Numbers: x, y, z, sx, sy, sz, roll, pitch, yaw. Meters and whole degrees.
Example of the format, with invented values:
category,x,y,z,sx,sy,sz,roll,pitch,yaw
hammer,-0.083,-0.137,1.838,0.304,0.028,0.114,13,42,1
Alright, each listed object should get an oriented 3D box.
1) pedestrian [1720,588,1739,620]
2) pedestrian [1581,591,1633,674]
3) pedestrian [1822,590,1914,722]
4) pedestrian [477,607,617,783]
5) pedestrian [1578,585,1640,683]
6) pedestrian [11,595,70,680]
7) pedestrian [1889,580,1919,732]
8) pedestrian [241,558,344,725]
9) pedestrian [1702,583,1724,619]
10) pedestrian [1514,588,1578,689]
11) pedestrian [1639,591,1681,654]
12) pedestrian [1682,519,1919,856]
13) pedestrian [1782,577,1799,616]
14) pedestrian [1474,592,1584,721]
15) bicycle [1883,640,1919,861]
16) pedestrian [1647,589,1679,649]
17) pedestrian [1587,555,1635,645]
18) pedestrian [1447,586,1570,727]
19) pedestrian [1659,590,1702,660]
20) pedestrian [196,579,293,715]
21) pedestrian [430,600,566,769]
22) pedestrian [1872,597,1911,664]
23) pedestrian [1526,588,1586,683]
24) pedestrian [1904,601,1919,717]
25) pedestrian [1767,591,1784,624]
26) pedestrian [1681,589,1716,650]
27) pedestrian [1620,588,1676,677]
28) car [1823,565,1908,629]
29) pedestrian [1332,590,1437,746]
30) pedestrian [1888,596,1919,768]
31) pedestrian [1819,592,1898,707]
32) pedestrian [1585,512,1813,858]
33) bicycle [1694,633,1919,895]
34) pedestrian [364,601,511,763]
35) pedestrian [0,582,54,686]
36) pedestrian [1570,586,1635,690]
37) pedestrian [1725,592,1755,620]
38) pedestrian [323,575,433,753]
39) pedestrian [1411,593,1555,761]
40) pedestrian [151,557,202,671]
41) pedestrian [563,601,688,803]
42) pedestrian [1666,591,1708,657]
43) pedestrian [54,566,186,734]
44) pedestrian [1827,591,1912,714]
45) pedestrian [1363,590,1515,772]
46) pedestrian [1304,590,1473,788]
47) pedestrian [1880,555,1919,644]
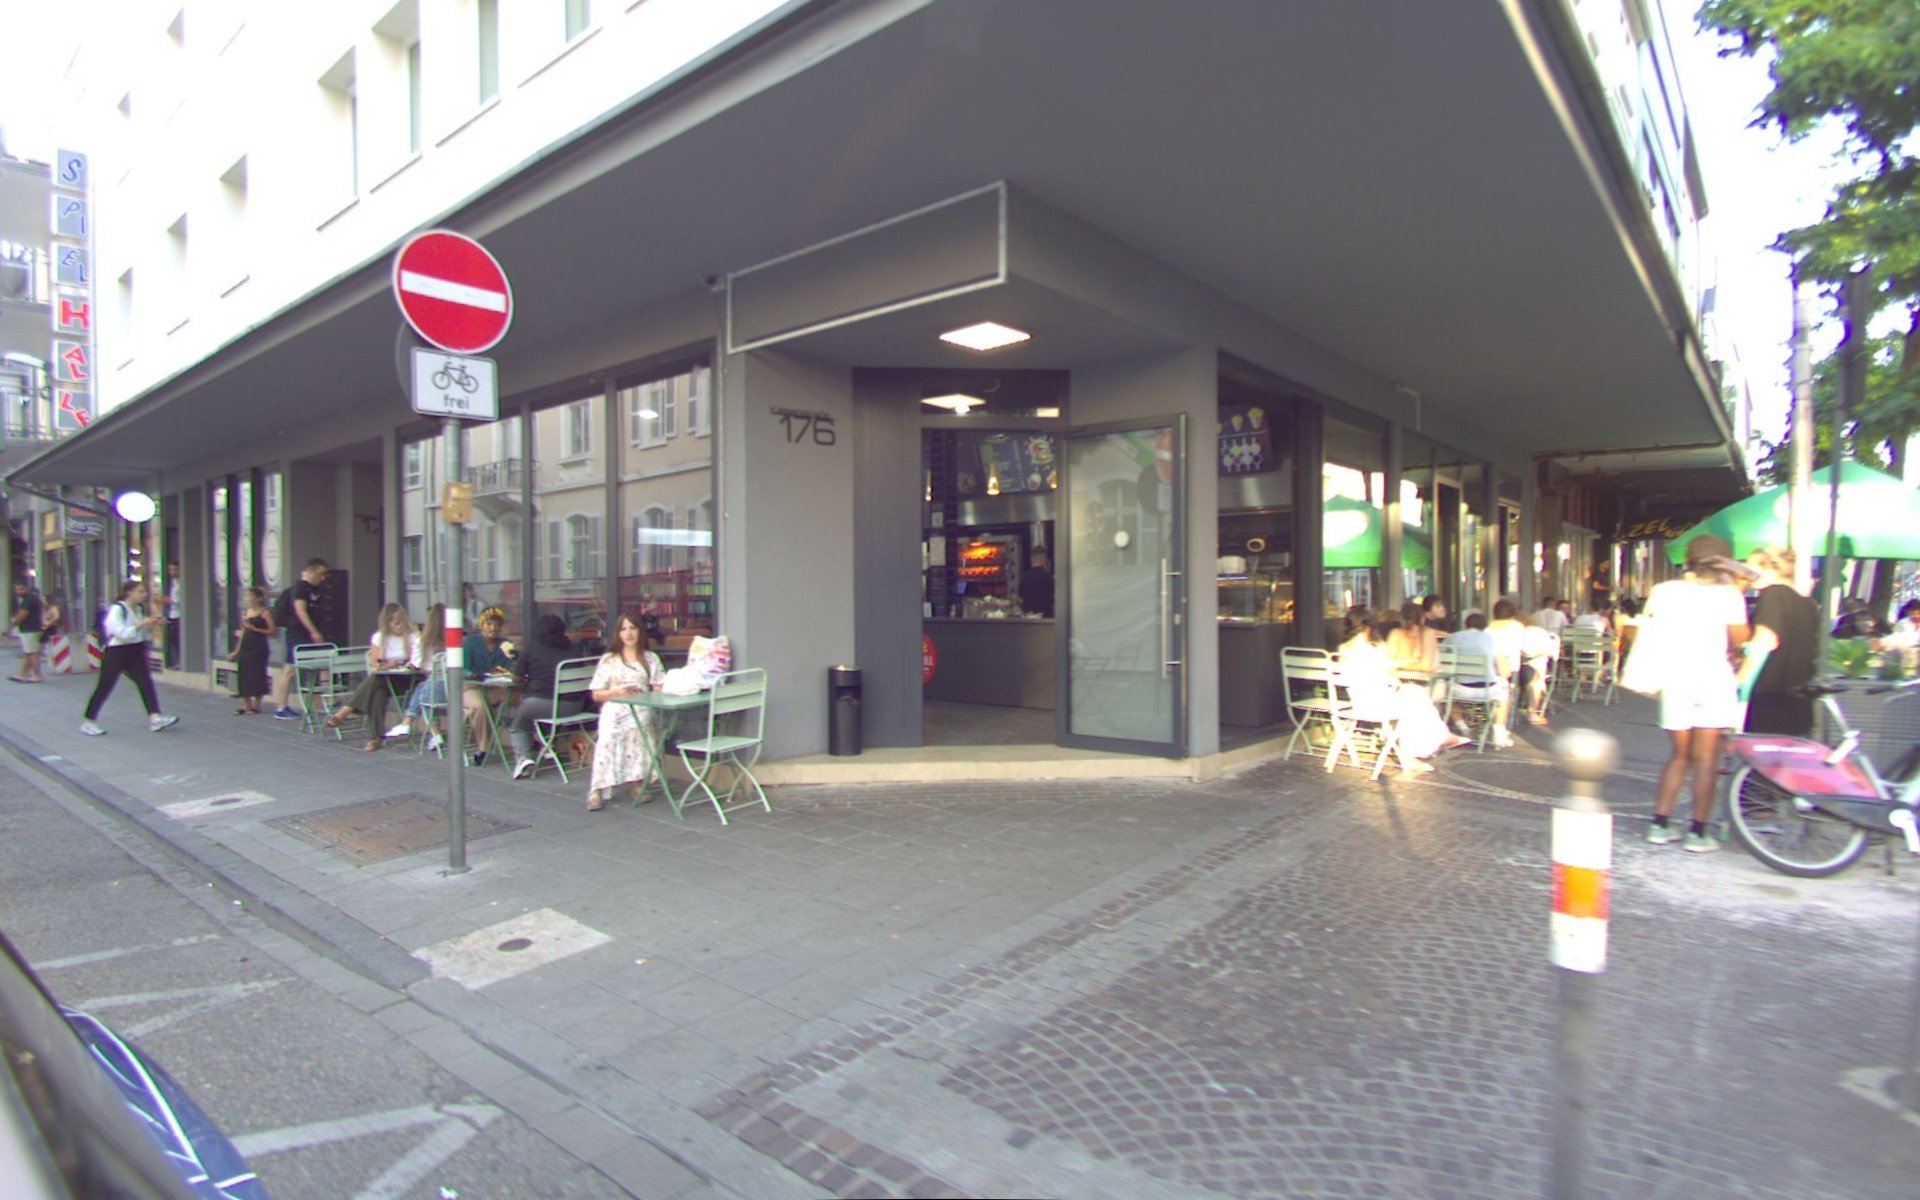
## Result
category,x,y,z,sx,sy,sz,roll,pitch,yaw
pedestrian,30.929,0.173,40.692,0.512,1.251,0.652,4,2,40
pedestrian,11.167,0.550,17.459,0.656,1.388,0.755,1,0,40
pedestrian,9.967,0.579,11.131,0.718,1.372,0.998,1,0,42
pedestrian,-3.119,0.678,7.643,0.691,1.204,0.696,-1,3,43
pedestrian,9.473,0.481,14.768,0.656,1.388,0.755,1,0,40
pedestrian,-17.886,0.719,19.691,0.612,1.590,0.702,-1,2,37
pedestrian,9.034,0.506,9.291,0.718,1.372,0.859,1,0,42
pedestrian,-7.656,0.448,11.606,0.932,1.824,0.707,-1,1,41
pedestrian,31.485,0.039,42.327,0.612,1.444,0.504,4,2,43
pedestrian,8.392,0.531,14.487,0.656,1.388,0.755,1,0,40
pedestrian,15.804,0.505,22.840,0.692,1.388,0.755,1,0,40
pedestrian,4.629,0.457,5.608,0.770,1.754,0.642,1,0,-2
pedestrian,36.886,-0.153,44.959,0.511,1.673,0.603,2,1,42
pedestrian,6.211,0.585,11.039,0.850,1.330,0.869,1,0,44
bicycle,5.913,0.813,5.050,1.864,1.147,0.619,1,0,38
pedestrian,16.616,0.446,23.922,0.539,1.388,0.670,1,0,40
pedestrian,13.092,0.000,20.364,0.652,1.779,0.760,1,0,22
pedestrian,5.529,0.537,10.201,0.888,1.330,0.869,1,0,43
pedestrian,14.726,0.504,20.681,0.656,1.388,0.755,1,0,40
pedestrian,-8.618,0.555,12.209,0.632,1.581,0.656,-2,1,14
pedestrian,-3.757,0.648,8.229,0.778,1.249,0.696,0,3,43
pedestrian,19.871,0.643,21.591,0.581,1.388,0.557,1,0,40
pedestrian,8.968,0.514,15.218,0.656,1.388,0.755,1,0,40
pedestrian,11.918,0.705,12.228,0.718,1.372,0.998,1,0,42
pedestrian,36.015,0.314,44.673,0.511,1.444,0.603,2,1,42
pedestrian,17.087,0.441,23.411,0.607,1.388,0.639,1,0,40
pedestrian,11.103,0.506,16.330,0.656,1.388,0.755,1,0,40
car,27.942,-0.092,31.307,1.799,1.831,4.454,2,1,41
pedestrian,3.845,0.580,9.157,0.624,1.330,0.830,1,0,43
pedestrian,8.112,0.656,8.293,0.718,1.372,0.912,1,0,42
pedestrian,11.328,0.597,12.770,0.718,1.372,0.998,1,0,42
pedestrian,3.981,0.427,5.511,0.773,1.754,0.640,1,0,10
bicycle,4.786,0.766,4.870,1.848,1.147,0.777,1,0,13
pedestrian,-4.431,0.667,8.610,0.853,1.295,0.702,-1,0,16
pedestrian,-16.666,0.583,17.987,0.932,1.795,0.697,-1,0,40
pedestrian,8.904,0.512,14.020,0.656,1.388,0.755,1,0,40
pedestrian,33.610,0.261,43.586,0.766,1.128,0.826,1,2,-40
pedestrian,-5.428,0.554,9.433,0.695,1.559,0.862,-1,1,-42
pedestrian,4.476,0.610,8.658,0.888,1.330,0.869,1,0,43
pedestrian,-12.828,0.226,16.569,0.613,1.824,0.539,-1,-1,40
pedestrian,-2.195,0.632,6.729,0.694,1.228,0.844,-1,0,-13
pedestrian,15.359,0.495,21.370,0.656,1.340,0.755,1,0,40
pedestrian,-9.048,0.530,10.933,0.774,1.753,0.759,0,-2,0
pedestrian,10.747,0.589,11.974,0.718,1.372,0.912,1,0,42
pedestrian,3.809,0.596,8.048,0.850,1.330,0.869,1,0,44
pedestrian,3.148,0.601,7.435,0.888,1.330,0.869,1,0,43
pedestrian,15.108,-0.006,16.191,0.549,1.388,0.557,1,0,40
